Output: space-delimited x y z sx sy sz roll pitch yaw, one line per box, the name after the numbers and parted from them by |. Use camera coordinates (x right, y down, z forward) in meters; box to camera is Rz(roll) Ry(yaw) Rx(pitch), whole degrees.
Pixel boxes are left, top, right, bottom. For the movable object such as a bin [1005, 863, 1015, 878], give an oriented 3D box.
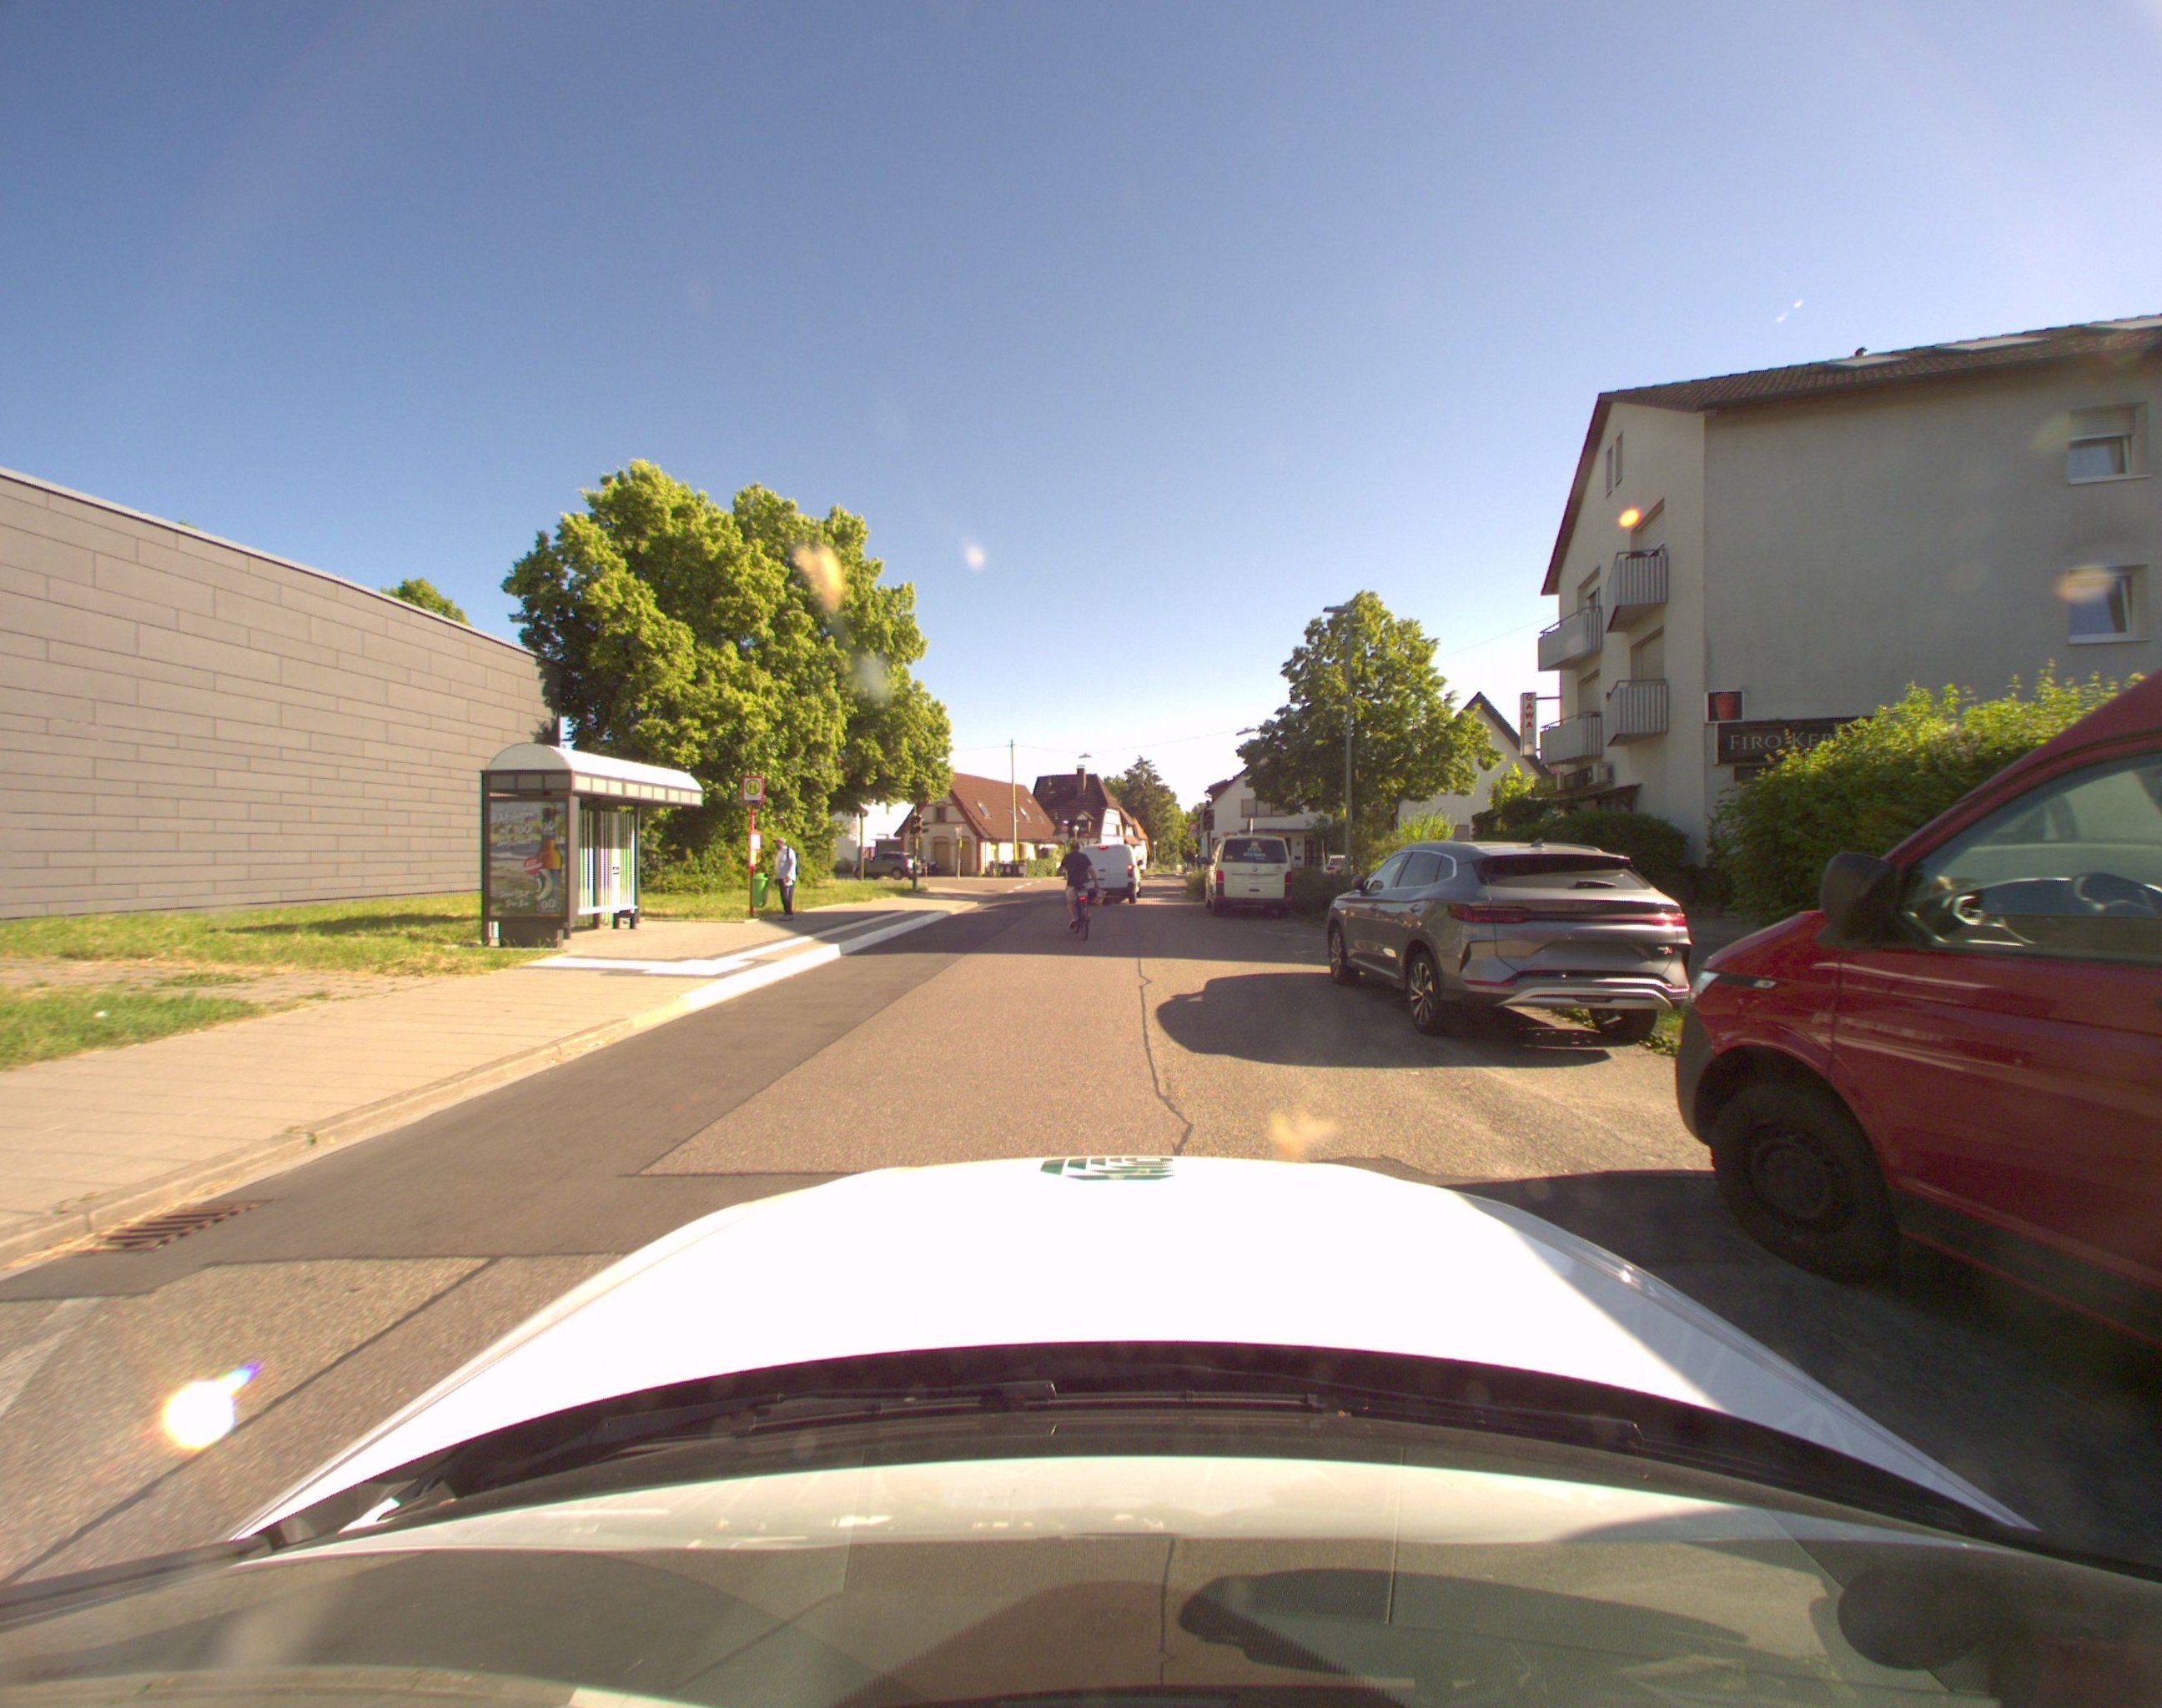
-4.666 1.078 53.424 0.409 0.906 0.629 0 1 21 | movable object such as a bin

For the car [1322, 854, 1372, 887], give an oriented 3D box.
13.235 0.787 40.807 1.980 1.421 4.820 0 2 13 | car

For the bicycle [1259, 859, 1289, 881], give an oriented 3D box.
11.488 0.962 48.562 1.726 1.284 0.702 0 -1 11 | bicycle

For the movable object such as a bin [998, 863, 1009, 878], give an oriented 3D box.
-5.116 1.077 53.639 0.503 0.924 0.629 0 0 21 | movable object such as a bin

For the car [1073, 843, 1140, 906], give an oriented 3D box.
0.918 0.571 26.427 1.948 1.848 4.566 -1 1 4 | car

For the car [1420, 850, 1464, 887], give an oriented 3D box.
17.307 0.658 39.153 1.693 1.551 4.427 1 2 21 | car

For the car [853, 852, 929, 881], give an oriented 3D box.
-11.796 0.750 50.700 4.186 1.725 1.955 0 -1 18 | car

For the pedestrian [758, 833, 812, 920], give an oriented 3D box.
-6.373 0.460 17.546 0.709 1.802 0.776 2 1 35 | pedestrian

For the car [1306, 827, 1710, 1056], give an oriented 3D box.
3.918 0.667 8.563 1.950 1.738 4.578 1 0 1 | car

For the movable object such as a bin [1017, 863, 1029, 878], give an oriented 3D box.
-3.772 1.084 53.093 0.551 0.924 0.629 0 0 21 | movable object such as a bin

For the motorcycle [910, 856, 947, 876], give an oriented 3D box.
-10.158 0.803 54.135 2.222 1.295 0.887 -1 2 22 | motorcycle

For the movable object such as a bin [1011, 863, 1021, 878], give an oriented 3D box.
-4.252 1.084 53.277 0.407 0.924 0.629 0 0 21 | movable object such as a bin

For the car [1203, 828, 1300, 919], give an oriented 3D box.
4.289 0.467 21.201 1.983 2.079 4.585 1 0 6 | car

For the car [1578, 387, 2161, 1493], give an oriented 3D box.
3.564 0.212 1.610 1.951 2.644 5.222 1 0 0 | car

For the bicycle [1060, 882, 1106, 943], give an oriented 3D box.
0.031 1.039 15.108 0.772 0.940 2.290 -1 0 0 | bicycle

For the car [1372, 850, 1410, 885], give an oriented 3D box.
15.590 0.648 40.946 1.693 1.517 4.427 1 2 21 | car

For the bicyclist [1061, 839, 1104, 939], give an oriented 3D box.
0.027 0.625 14.989 0.762 1.789 0.853 0 0 -1 | bicyclist
